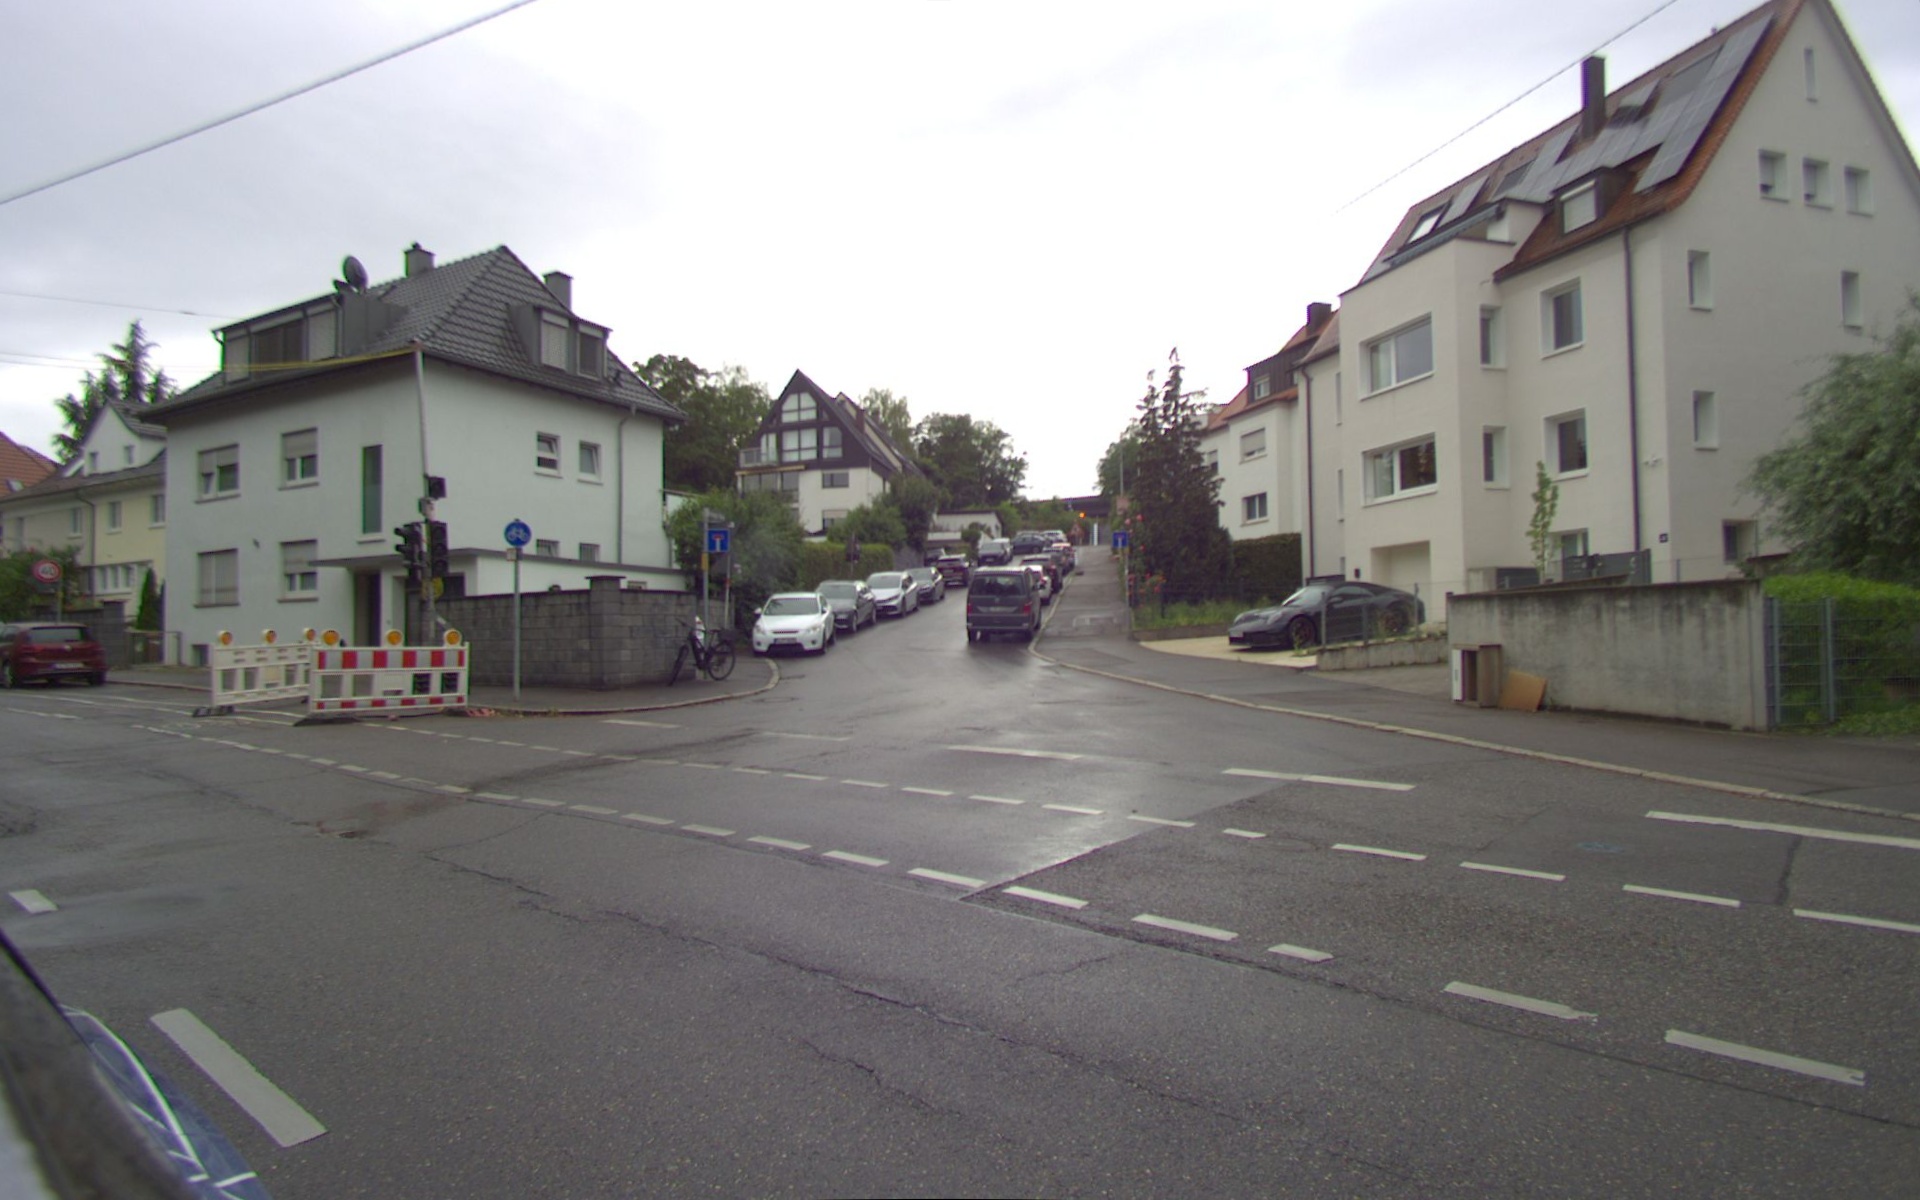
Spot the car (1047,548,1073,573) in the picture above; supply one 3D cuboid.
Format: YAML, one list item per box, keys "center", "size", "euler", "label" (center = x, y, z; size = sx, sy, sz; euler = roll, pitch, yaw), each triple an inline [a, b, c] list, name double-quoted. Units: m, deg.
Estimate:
- center: [6.238, -2.450, 62.849]
  size: [1.488, 1.373, 3.465]
  euler: [-1, 0, 8]
  label: "car"

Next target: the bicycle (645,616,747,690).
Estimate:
- center: [-4.786, 0.929, 18.458]
  size: [0.508, 1.249, 1.984]
  euler: [1, 0, 32]
  label: "bicycle"

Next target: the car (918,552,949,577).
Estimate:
- center: [-1.826, -2.420, 69.794]
  size: [1.793, 1.566, 4.009]
  euler: [-1, 0, 3]
  label: "car"

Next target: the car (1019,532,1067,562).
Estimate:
- center: [7.204, -4.564, 87.644]
  size: [3.954, 2.028, 1.995]
  euler: [-5, -1, 8]
  label: "car"

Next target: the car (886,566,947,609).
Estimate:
- center: [-1.806, -0.556, 42.961]
  size: [1.903, 1.448, 4.100]
  euler: [-1, 5, 7]
  label: "car"

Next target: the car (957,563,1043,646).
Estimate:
- center: [1.242, 0.047, 29.326]
  size: [1.978, 2.028, 4.482]
  euler: [-1, 4, 9]
  label: "car"

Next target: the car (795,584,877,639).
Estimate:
- center: [-3.827, 0.317, 31.819]
  size: [1.702, 1.397, 3.900]
  euler: [-1, 4, 6]
  label: "car"

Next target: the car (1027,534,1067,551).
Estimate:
- center: [8.940, -5.901, 103.915]
  size: [3.782, 1.529, 1.664]
  euler: [-1, -1, 15]
  label: "car"

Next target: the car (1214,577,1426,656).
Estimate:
- center: [7.707, 0.330, 21.773]
  size: [3.942, 1.290, 1.613]
  euler: [-5, 1, -13]
  label: "car"

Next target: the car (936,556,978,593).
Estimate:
- center: [-0.114, -1.365, 52.466]
  size: [1.623, 1.637, 3.992]
  euler: [-1, 5, 8]
  label: "car"

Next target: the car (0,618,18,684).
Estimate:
- center: [-26.153, 1.316, 25.776]
  size: [4.131, 1.653, 1.782]
  euler: [-1, -1, 25]
  label: "car"

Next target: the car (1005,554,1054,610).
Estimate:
- center: [2.820, -0.757, 40.325]
  size: [1.686, 1.843, 4.194]
  euler: [-1, 6, 7]
  label: "car"

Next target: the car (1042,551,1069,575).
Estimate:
- center: [5.503, -2.146, 58.112]
  size: [1.274, 1.325, 2.984]
  euler: [-1, 3, 10]
  label: "car"

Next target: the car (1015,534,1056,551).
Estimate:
- center: [7.392, -5.591, 98.790]
  size: [3.922, 1.528, 1.748]
  euler: [-1, 0, 6]
  label: "car"

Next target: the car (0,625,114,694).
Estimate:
- center: [-21.468, 1.333, 23.384]
  size: [3.833, 1.443, 1.768]
  euler: [-1, -1, 30]
  label: "car"

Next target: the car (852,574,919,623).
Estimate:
- center: [-2.657, -0.087, 37.088]
  size: [1.738, 1.481, 3.940]
  euler: [-1, 4, 6]
  label: "car"

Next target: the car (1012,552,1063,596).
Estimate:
- center: [3.522, -1.196, 45.377]
  size: [1.823, 1.699, 4.039]
  euler: [-1, 5, 11]
  label: "car"

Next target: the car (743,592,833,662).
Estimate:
- center: [-4.354, 0.622, 26.157]
  size: [1.827, 1.473, 4.124]
  euler: [-1, 3, -3]
  label: "car"

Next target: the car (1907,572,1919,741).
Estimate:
- center: [10.604, 0.418, 8.549]
  size: [3.934, 1.497, 1.780]
  euler: [-2, -1, -12]
  label: "car"

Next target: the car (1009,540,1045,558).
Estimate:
- center: [5.554, -4.200, 83.655]
  size: [2.914, 1.328, 1.282]
  euler: [-1, 0, 4]
  label: "car"

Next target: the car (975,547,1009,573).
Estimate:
- center: [2.197, -2.672, 68.887]
  size: [1.770, 1.531, 4.016]
  euler: [-1, 0, 9]
  label: "car"

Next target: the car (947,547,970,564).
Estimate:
- center: [-0.081, -3.260, 74.022]
  size: [1.559, 1.220, 3.650]
  euler: [-1, 3, 2]
  label: "car"

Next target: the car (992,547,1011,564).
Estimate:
- center: [3.059, -3.328, 74.712]
  size: [1.292, 1.206, 2.980]
  euler: [-1, 3, 5]
  label: "car"
